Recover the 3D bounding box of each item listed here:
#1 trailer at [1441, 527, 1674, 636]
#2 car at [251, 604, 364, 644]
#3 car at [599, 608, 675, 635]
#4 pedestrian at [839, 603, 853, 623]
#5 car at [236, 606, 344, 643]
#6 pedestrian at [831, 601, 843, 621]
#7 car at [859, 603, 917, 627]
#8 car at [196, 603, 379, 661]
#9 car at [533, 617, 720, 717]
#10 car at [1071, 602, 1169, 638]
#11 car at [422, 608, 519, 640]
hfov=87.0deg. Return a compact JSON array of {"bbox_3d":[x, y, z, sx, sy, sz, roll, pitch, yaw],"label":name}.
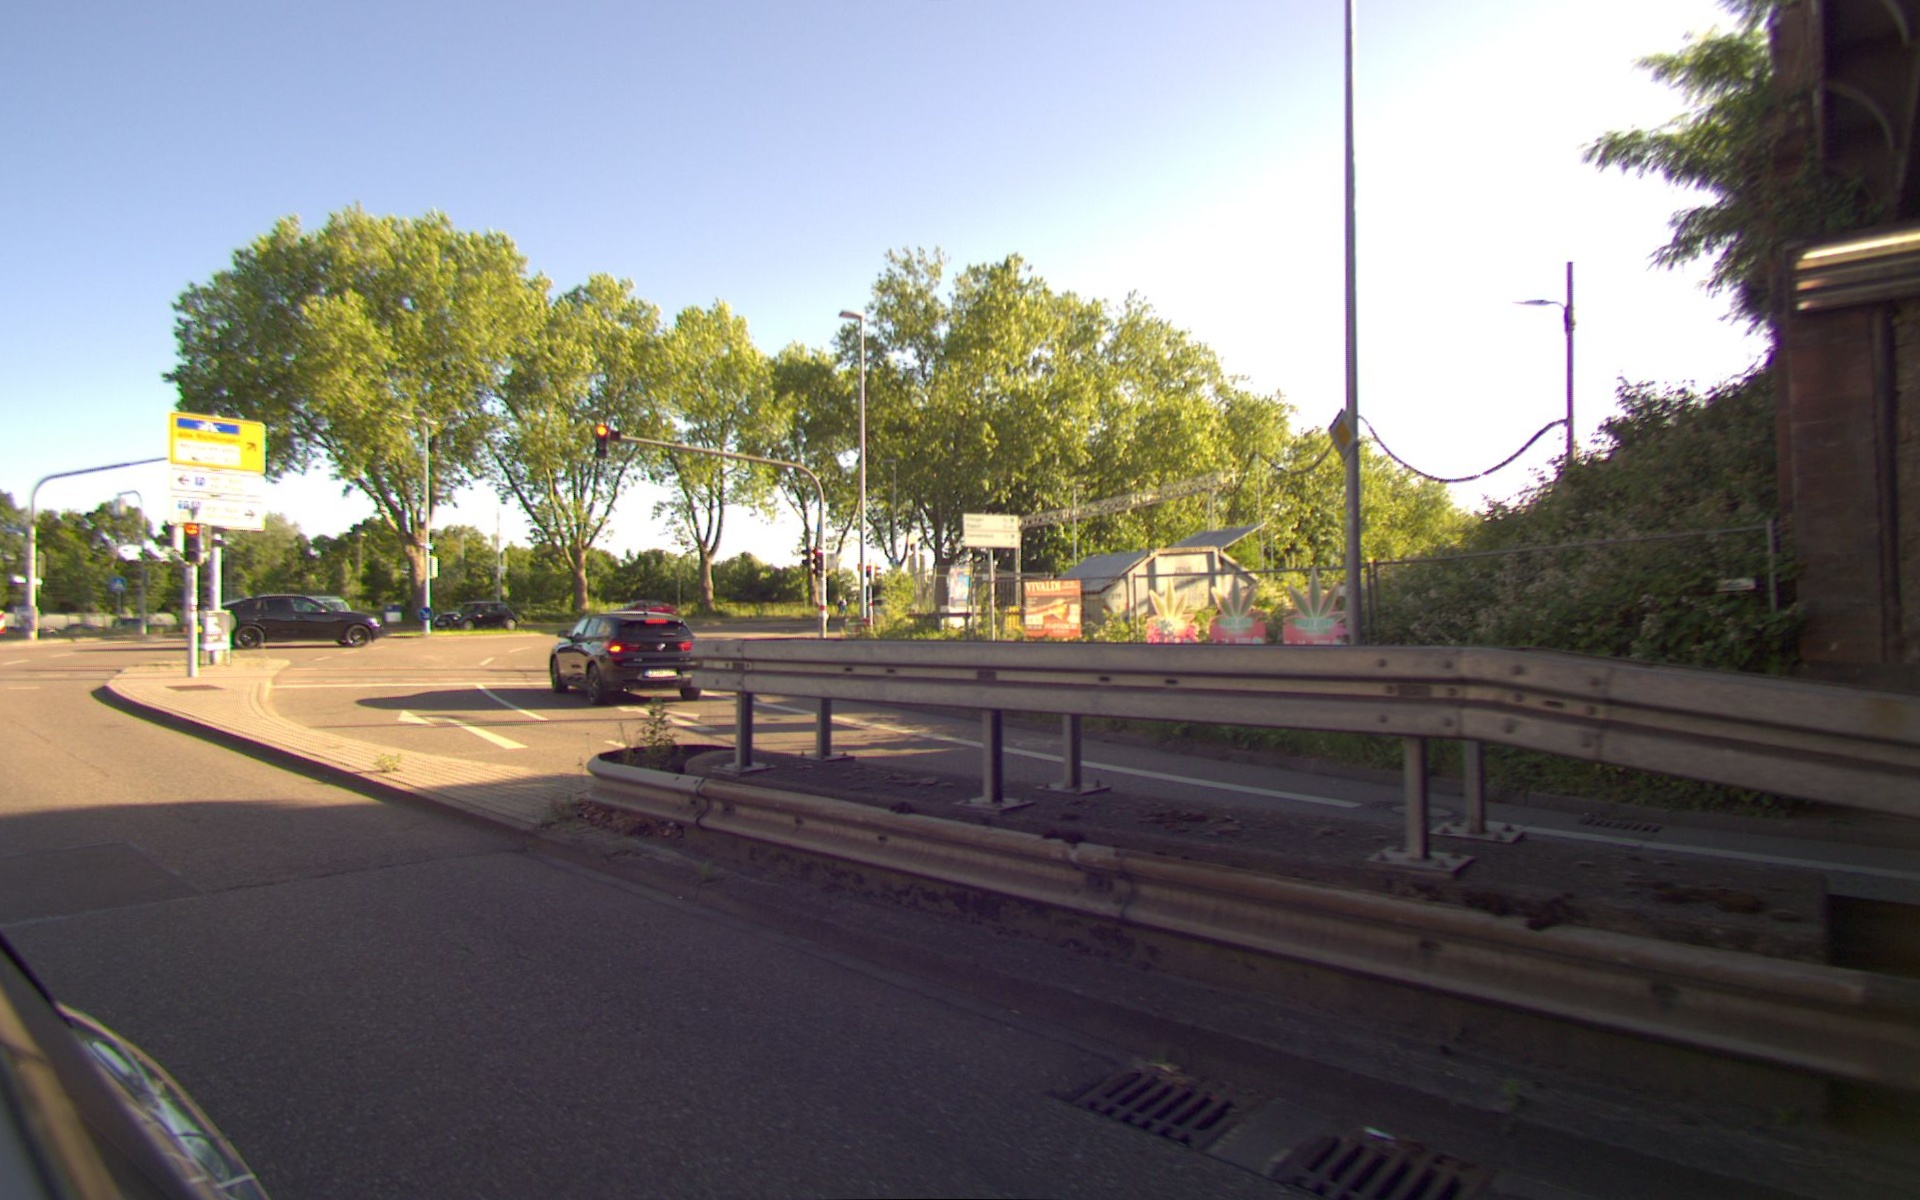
[{"bbox_3d":[19.608,-0.573,33.273,6.553,3.317,3.015,0,0,-19],"label":"trailer"},{"bbox_3d":[-28.335,1.034,44.110,1.900,1.648,4.108,-1,-1,10],"label":"car"},{"bbox_3d":[-20.529,1.328,64.457,4.260,1.611,1.861,0,-1,-44],"label":"car"},{"bbox_3d":[-9.044,1.019,80.522,0.731,1.604,0.793,-2,-1,44],"label":"pedestrian"},{"bbox_3d":[-33.441,1.191,50.564,1.860,1.757,4.206,-2,-2,43],"label":"car"},{"bbox_3d":[-9.894,0.865,81.491,0.666,1.598,0.622,-2,-1,44],"label":"pedestrian"},{"bbox_3d":[-4.602,0.972,65.174,1.968,1.438,3.898,-1,0,29],"label":"car"},{"bbox_3d":[-21.563,0.966,32.551,4.677,1.727,2.051,0,-1,-42],"label":"car"},{"bbox_3d":[-6.021,1.078,17.935,1.924,1.529,4.398,1,-1,-35],"label":"car"},{"bbox_3d":[7.014,0.868,44.470,3.931,1.488,1.759,-1,-1,-26],"label":"car"},{"bbox_3d":[-23.144,1.104,47.978,1.896,1.438,3.908,-1,-1,22],"label":"car"}]
